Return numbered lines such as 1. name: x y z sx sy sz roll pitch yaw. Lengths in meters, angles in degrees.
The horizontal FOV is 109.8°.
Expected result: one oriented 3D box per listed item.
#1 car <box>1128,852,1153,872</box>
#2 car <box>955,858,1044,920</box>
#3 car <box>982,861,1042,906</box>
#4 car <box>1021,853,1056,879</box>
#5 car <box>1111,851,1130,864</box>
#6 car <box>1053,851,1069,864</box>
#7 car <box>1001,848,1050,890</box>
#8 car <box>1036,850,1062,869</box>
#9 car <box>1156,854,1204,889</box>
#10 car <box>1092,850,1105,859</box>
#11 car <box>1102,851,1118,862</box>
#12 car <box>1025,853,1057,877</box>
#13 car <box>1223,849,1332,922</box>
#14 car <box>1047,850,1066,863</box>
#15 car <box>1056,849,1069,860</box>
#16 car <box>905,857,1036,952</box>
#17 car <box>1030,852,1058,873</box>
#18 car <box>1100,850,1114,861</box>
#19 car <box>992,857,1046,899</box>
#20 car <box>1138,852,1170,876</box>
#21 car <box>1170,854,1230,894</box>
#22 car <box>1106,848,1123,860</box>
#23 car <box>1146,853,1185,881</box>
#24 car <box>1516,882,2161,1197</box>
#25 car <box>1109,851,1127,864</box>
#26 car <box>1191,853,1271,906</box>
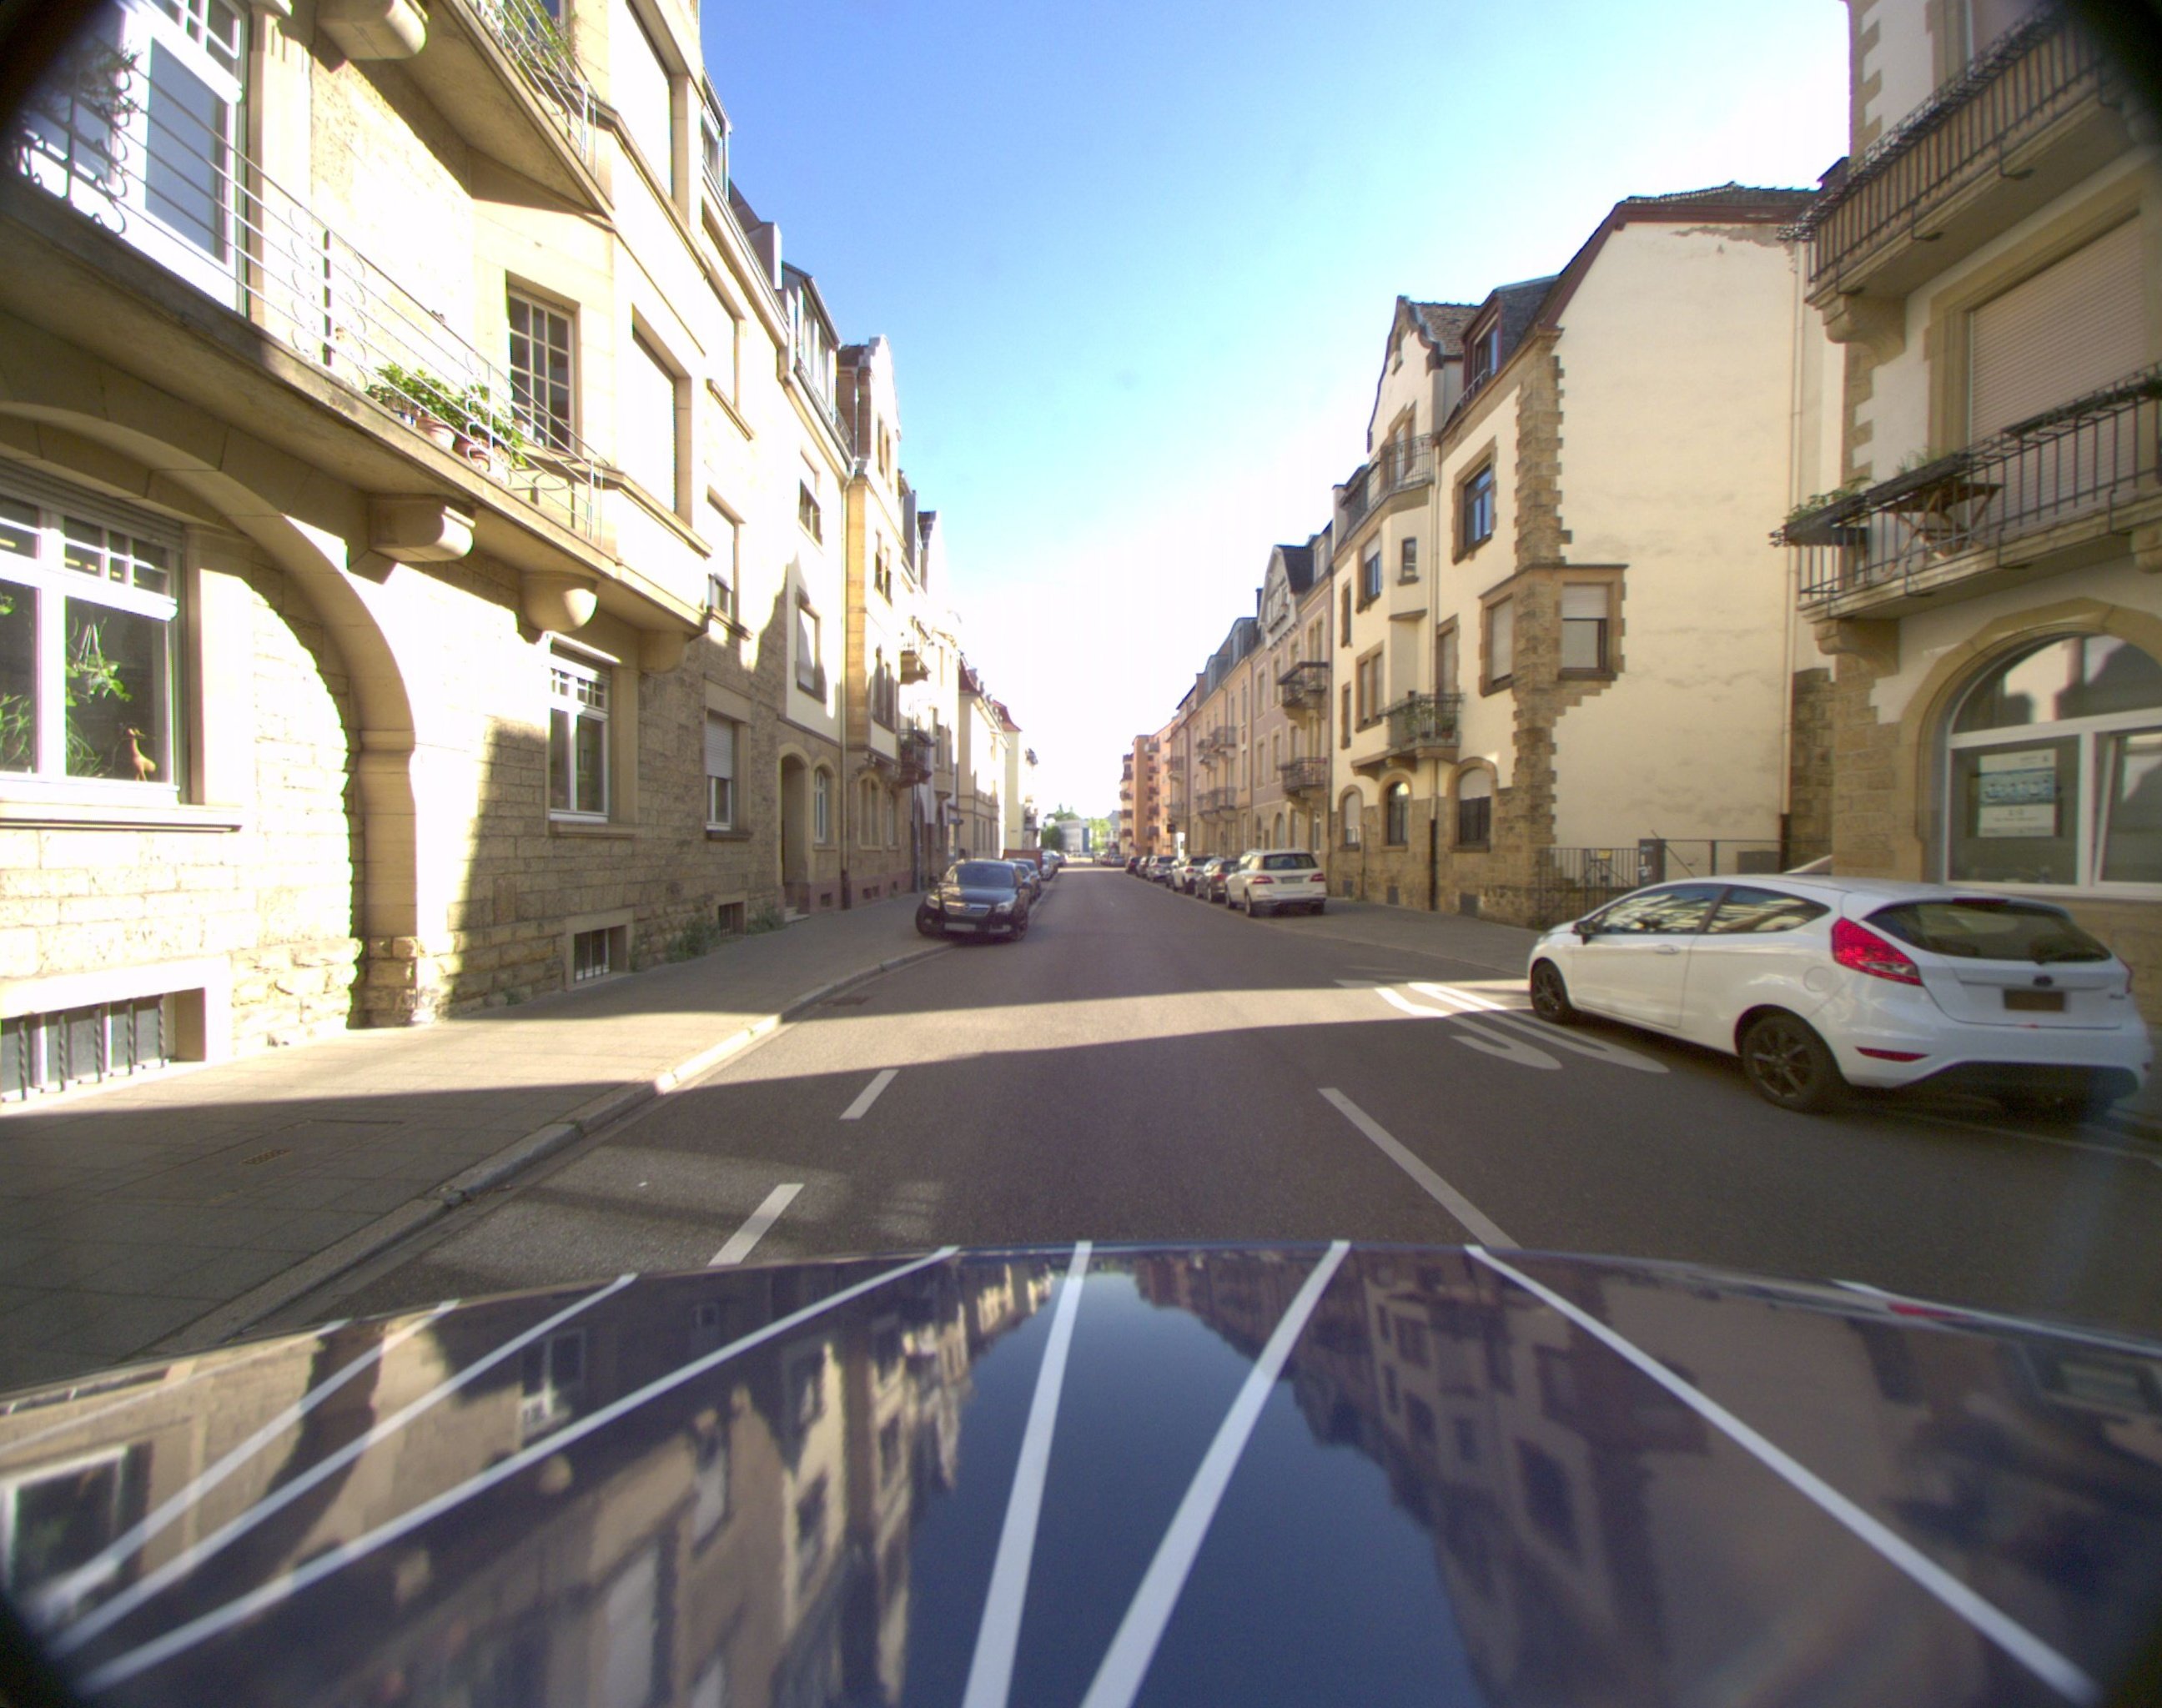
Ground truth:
1. car: 4.895 0.646 62.971 1.793 1.500 4.320 -2 1 1
2. car: -2.096 0.877 20.798 2.005 1.499 4.321 1 0 -1
3. car: -2.232 0.930 25.377 1.661 1.272 3.729 1 1 -1
4. car: -2.651 0.722 47.866 2.005 1.500 4.320 1 1 -1
5. car: 4.675 0.414 91.390 2.005 1.500 4.320 1 1 -1
6. car: -2.580 0.438 99.951 2.005 1.500 4.320 1 1 -1
7. car: -2.558 0.654 35.808 2.005 1.828 4.320 1 1 -1
8. car: -2.670 0.457 64.498 2.005 1.500 4.320 1 1 -1
9. car: 4.857 0.821 37.805 1.857 1.491 4.318 -2 1 1
10. car: 3.032 0.087 129.588 2.005 1.500 4.320 1 1 -1
11. car: 4.115 0.295 107.250 2.005 1.500 4.320 1 1 -1
12. car: -2.746 0.742 52.639 2.005 1.500 4.320 1 1 -1
13. car: 5.196 0.755 20.679 1.890 1.717 4.211 -2 1 1
14. car: -2.842 0.273 88.977 2.005 1.500 4.320 1 1 -1
15. car: -2.938 0.076 123.335 2.005 1.722 4.320 1 1 -1
16. car: -2.036 0.885 15.224 2.024 1.500 4.111 2 1 -1
17. car: -2.822 0.610 58.683 2.005 1.500 4.320 1 1 -1
18. car: 3.962 0.194 116.758 2.005 1.500 4.320 1 1 -1
19. car: -2.383 0.894 30.119 1.824 1.415 4.320 1 1 -1
20. car: 4.994 0.673 52.349 1.809 1.500 4.003 -2 1 1
21. car: 4.986 0.798 32.364 1.890 1.500 4.320 -2 1 1
22. car: 4.430 0.018 101.851 2.005 1.500 4.320 1 1 -1
23. car: 5.023 0.737 45.869 1.890 1.500 4.320 -2 1 1
24. car: 5.113 1.017 5.697 1.656 1.449 3.643 2 0 2
25. car: 4.625 0.398 96.204 2.005 1.500 4.320 1 1 -1
26. car: 5.124 0.824 26.543 1.890 1.500 4.320 -4 1 1
